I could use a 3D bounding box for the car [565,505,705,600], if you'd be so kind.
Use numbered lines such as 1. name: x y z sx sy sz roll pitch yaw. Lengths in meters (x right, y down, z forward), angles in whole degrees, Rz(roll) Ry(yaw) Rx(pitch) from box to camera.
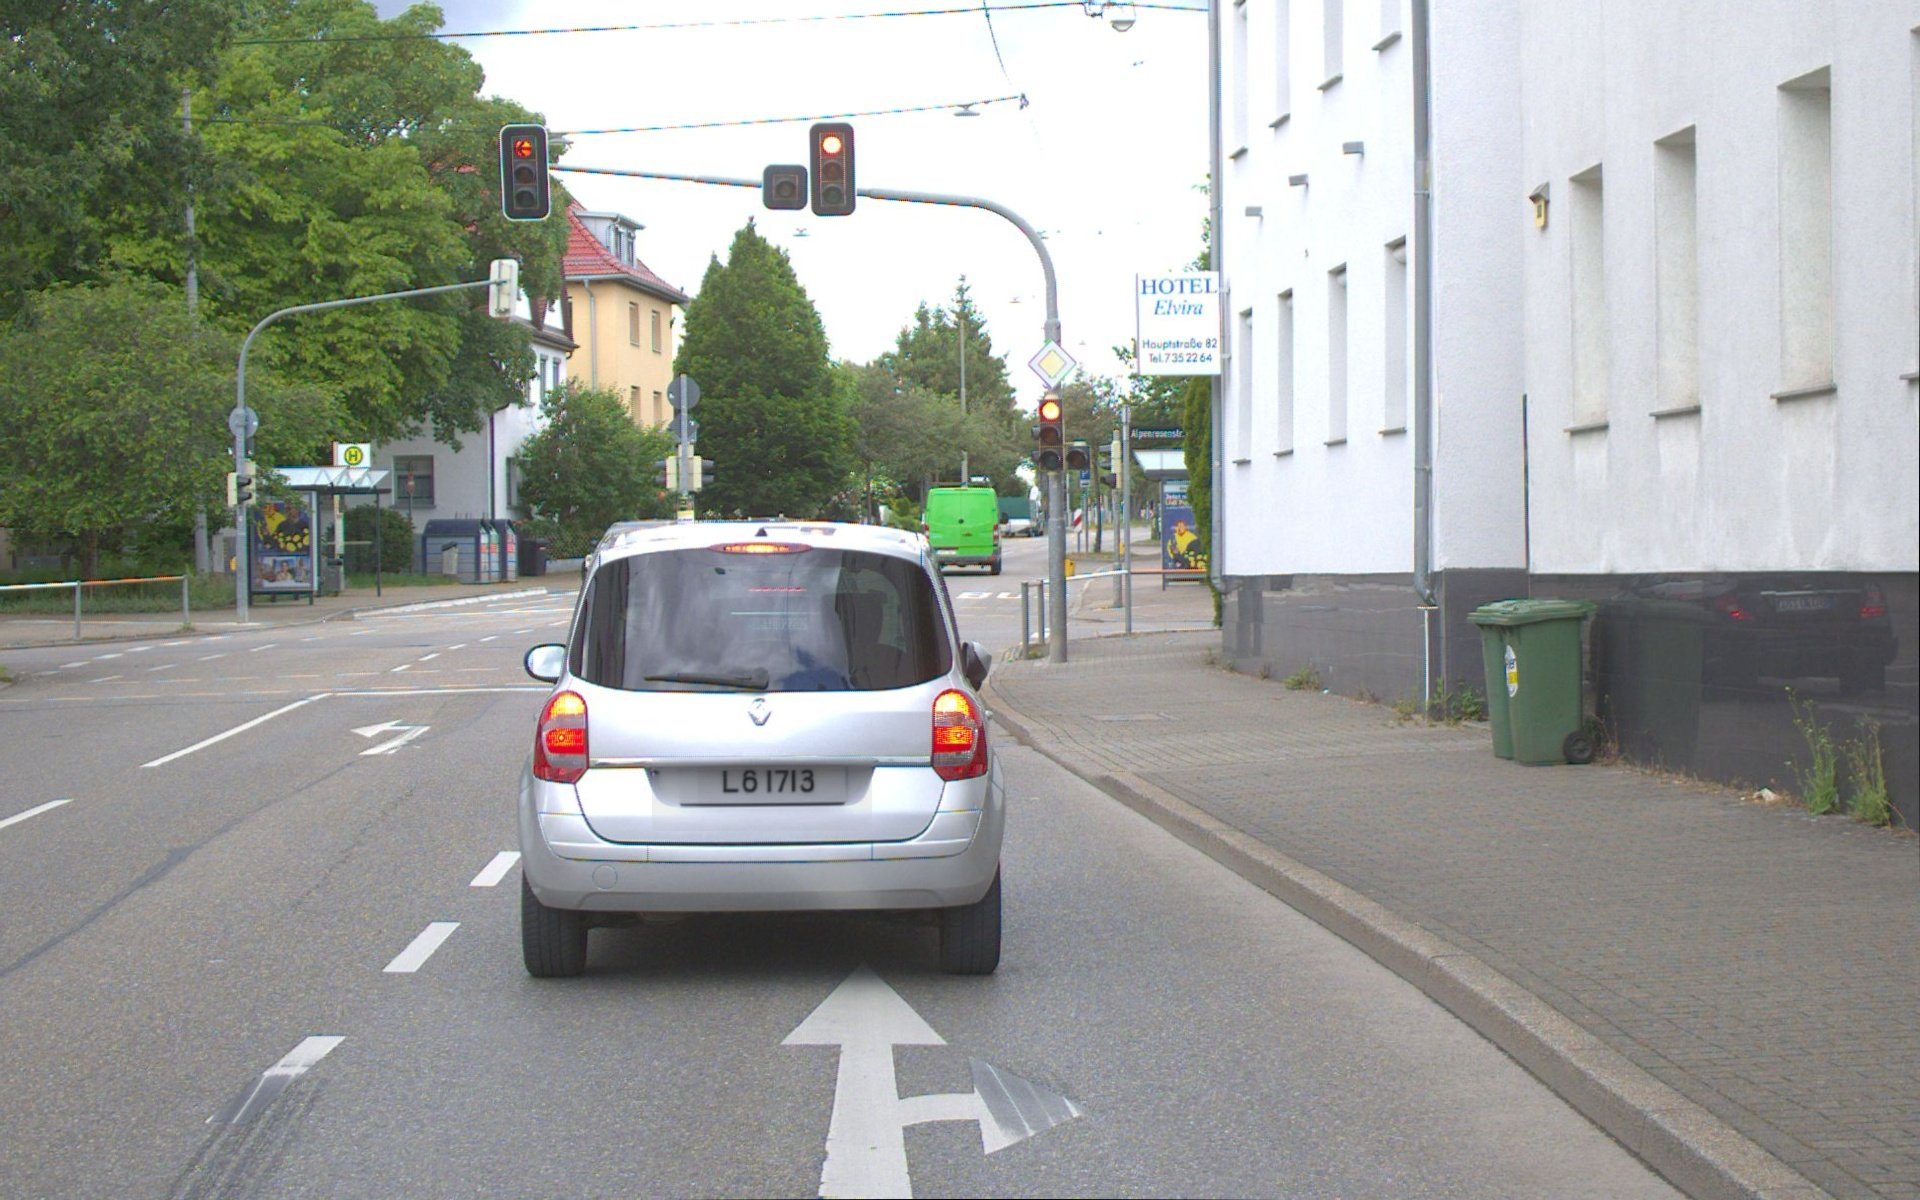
1. car: -6.698 -1.006 71.229 1.927 1.767 3.999 -4 1 7

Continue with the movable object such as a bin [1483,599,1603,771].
1. movable object such as a bin: 3.342 0.481 19.740 0.540 0.938 0.487 -3 1 -3

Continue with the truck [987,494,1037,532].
1. truck: 2.816 -4.644 184.060 2.102 2.007 5.746 0 1 7

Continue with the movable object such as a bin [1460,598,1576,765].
1. movable object such as a bin: 3.289 0.473 20.275 0.540 0.938 0.487 -3 1 -3

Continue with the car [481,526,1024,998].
1. car: -0.791 0.498 13.156 1.755 1.525 4.001 0 1 -3

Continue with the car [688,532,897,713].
1. car: -1.522 0.161 30.851 1.755 1.525 3.798 0 1 -3

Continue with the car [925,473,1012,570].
1. car: 0.263 -2.064 91.534 2.059 2.503 5.595 0 1 3
